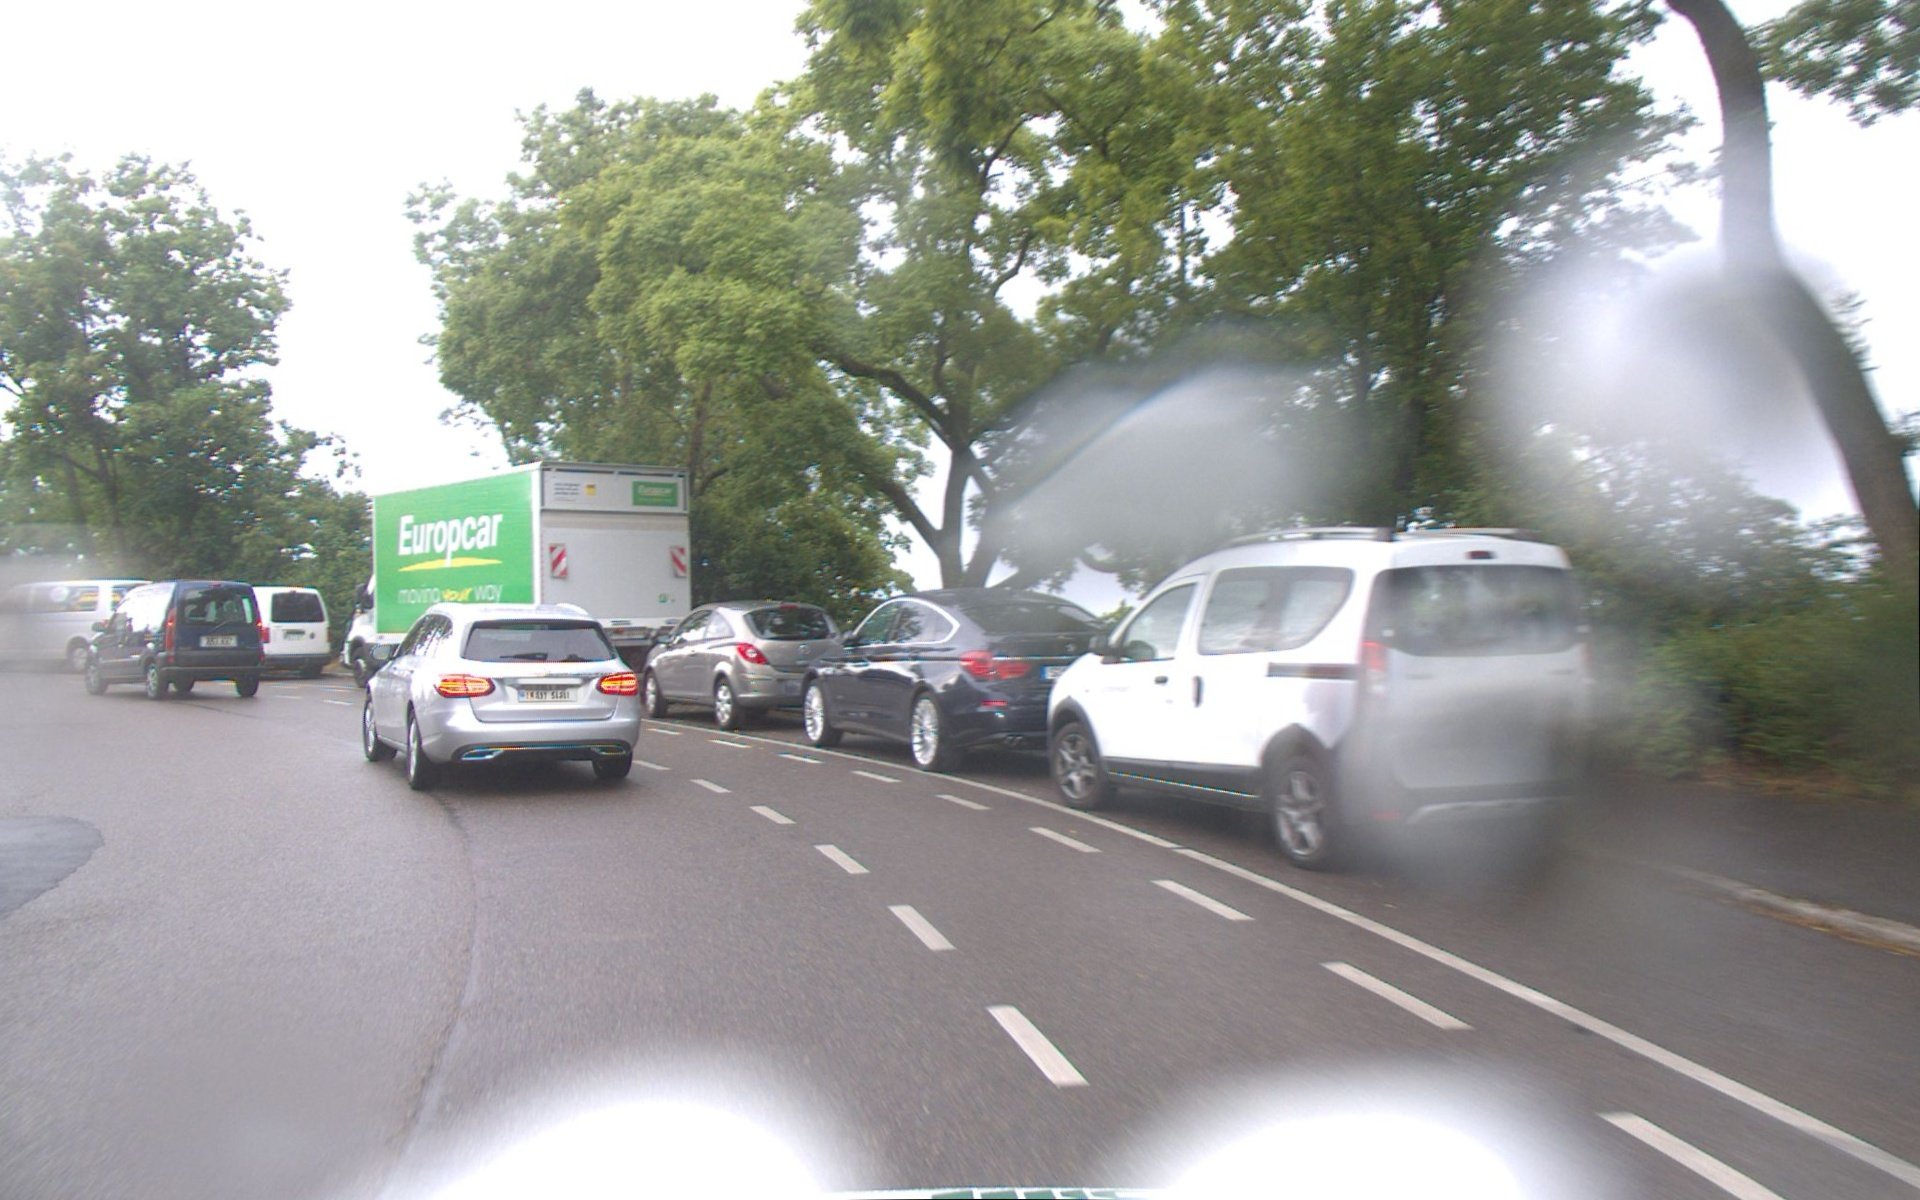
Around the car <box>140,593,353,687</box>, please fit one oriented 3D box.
[{"bbox_3d":[-14.582,0.794,33.745,4.284,1.802,1.862,0,-1,31],"label":"car"}]

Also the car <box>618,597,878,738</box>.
[{"bbox_3d":[-2.761,0.780,20.733,1.717,1.529,4.091,-2,0,-31],"label":"car"}]

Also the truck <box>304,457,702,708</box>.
[{"bbox_3d":[-7.882,-0.232,27.513,2.759,3.531,8.795,-1,0,-42],"label":"truck"}]

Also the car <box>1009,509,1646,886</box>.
[{"bbox_3d":[2.033,0.482,10.587,1.723,1.853,4.392,-2,0,-23],"label":"car"}]

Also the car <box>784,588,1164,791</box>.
[{"bbox_3d":[-0.077,0.734,15.870,1.835,1.569,4.860,-2,0,-23],"label":"car"}]

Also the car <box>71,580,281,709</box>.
[{"bbox_3d":[-12.856,0.704,27.033,4.026,1.915,1.817,-2,0,45],"label":"car"}]

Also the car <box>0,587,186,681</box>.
[{"bbox_3d":[-19.670,0.742,36.702,4.695,1.982,1.865,0,-1,23],"label":"car"}]

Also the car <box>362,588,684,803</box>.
[{"bbox_3d":[-3.988,0.727,14.545,1.959,1.581,4.261,0,-1,-26],"label":"car"}]
